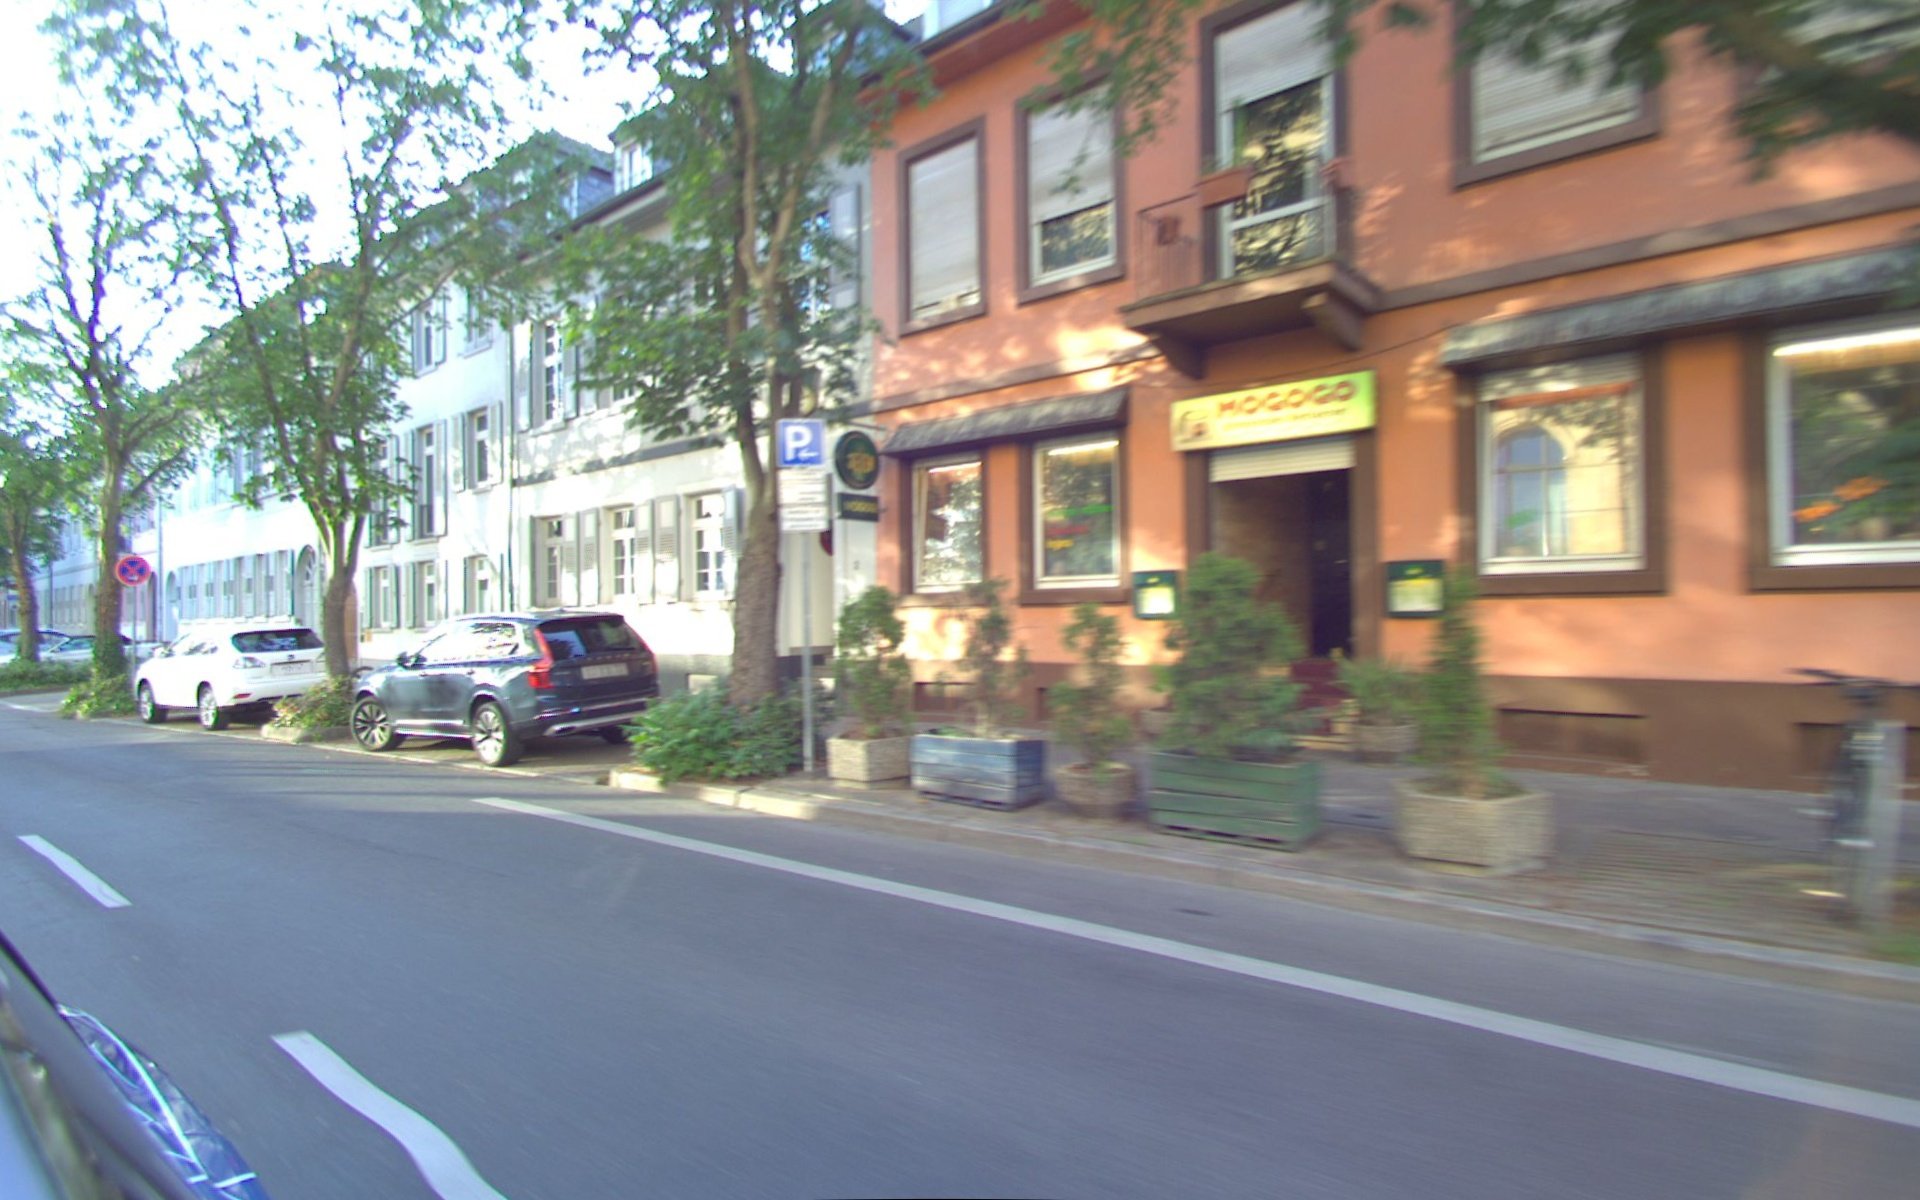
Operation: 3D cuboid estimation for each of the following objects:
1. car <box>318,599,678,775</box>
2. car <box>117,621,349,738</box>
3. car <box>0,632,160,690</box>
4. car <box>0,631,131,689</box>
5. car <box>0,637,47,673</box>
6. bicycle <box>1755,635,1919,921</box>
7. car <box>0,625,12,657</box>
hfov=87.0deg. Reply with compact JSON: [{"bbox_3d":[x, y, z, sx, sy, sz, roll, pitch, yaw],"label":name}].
[{"bbox_3d":[-6.049,0.990,12.990,5.036,1.772,1.813,-2,3,35],"label":"car"},{"bbox_3d":[-12.942,1.318,17.935,4.645,1.680,1.813,-2,3,35],"label":"car"},{"bbox_3d":[-26.821,1.798,30.400,1.801,1.557,4.172,-2,-2,43],"label":"car"},{"bbox_3d":[-29.076,1.877,31.965,1.798,1.703,4.179,-2,-1,38],"label":"car"},{"bbox_3d":[-42.666,2.417,44.024,1.798,1.519,4.179,-2,-1,38],"label":"car"},{"bbox_3d":[4.387,0.759,4.960,0.609,1.112,1.851,-2,-1,34],"label":"bicycle"},{"bbox_3d":[-53.208,2.220,53.586,1.798,1.677,4.179,-2,-1,38],"label":"car"}]
